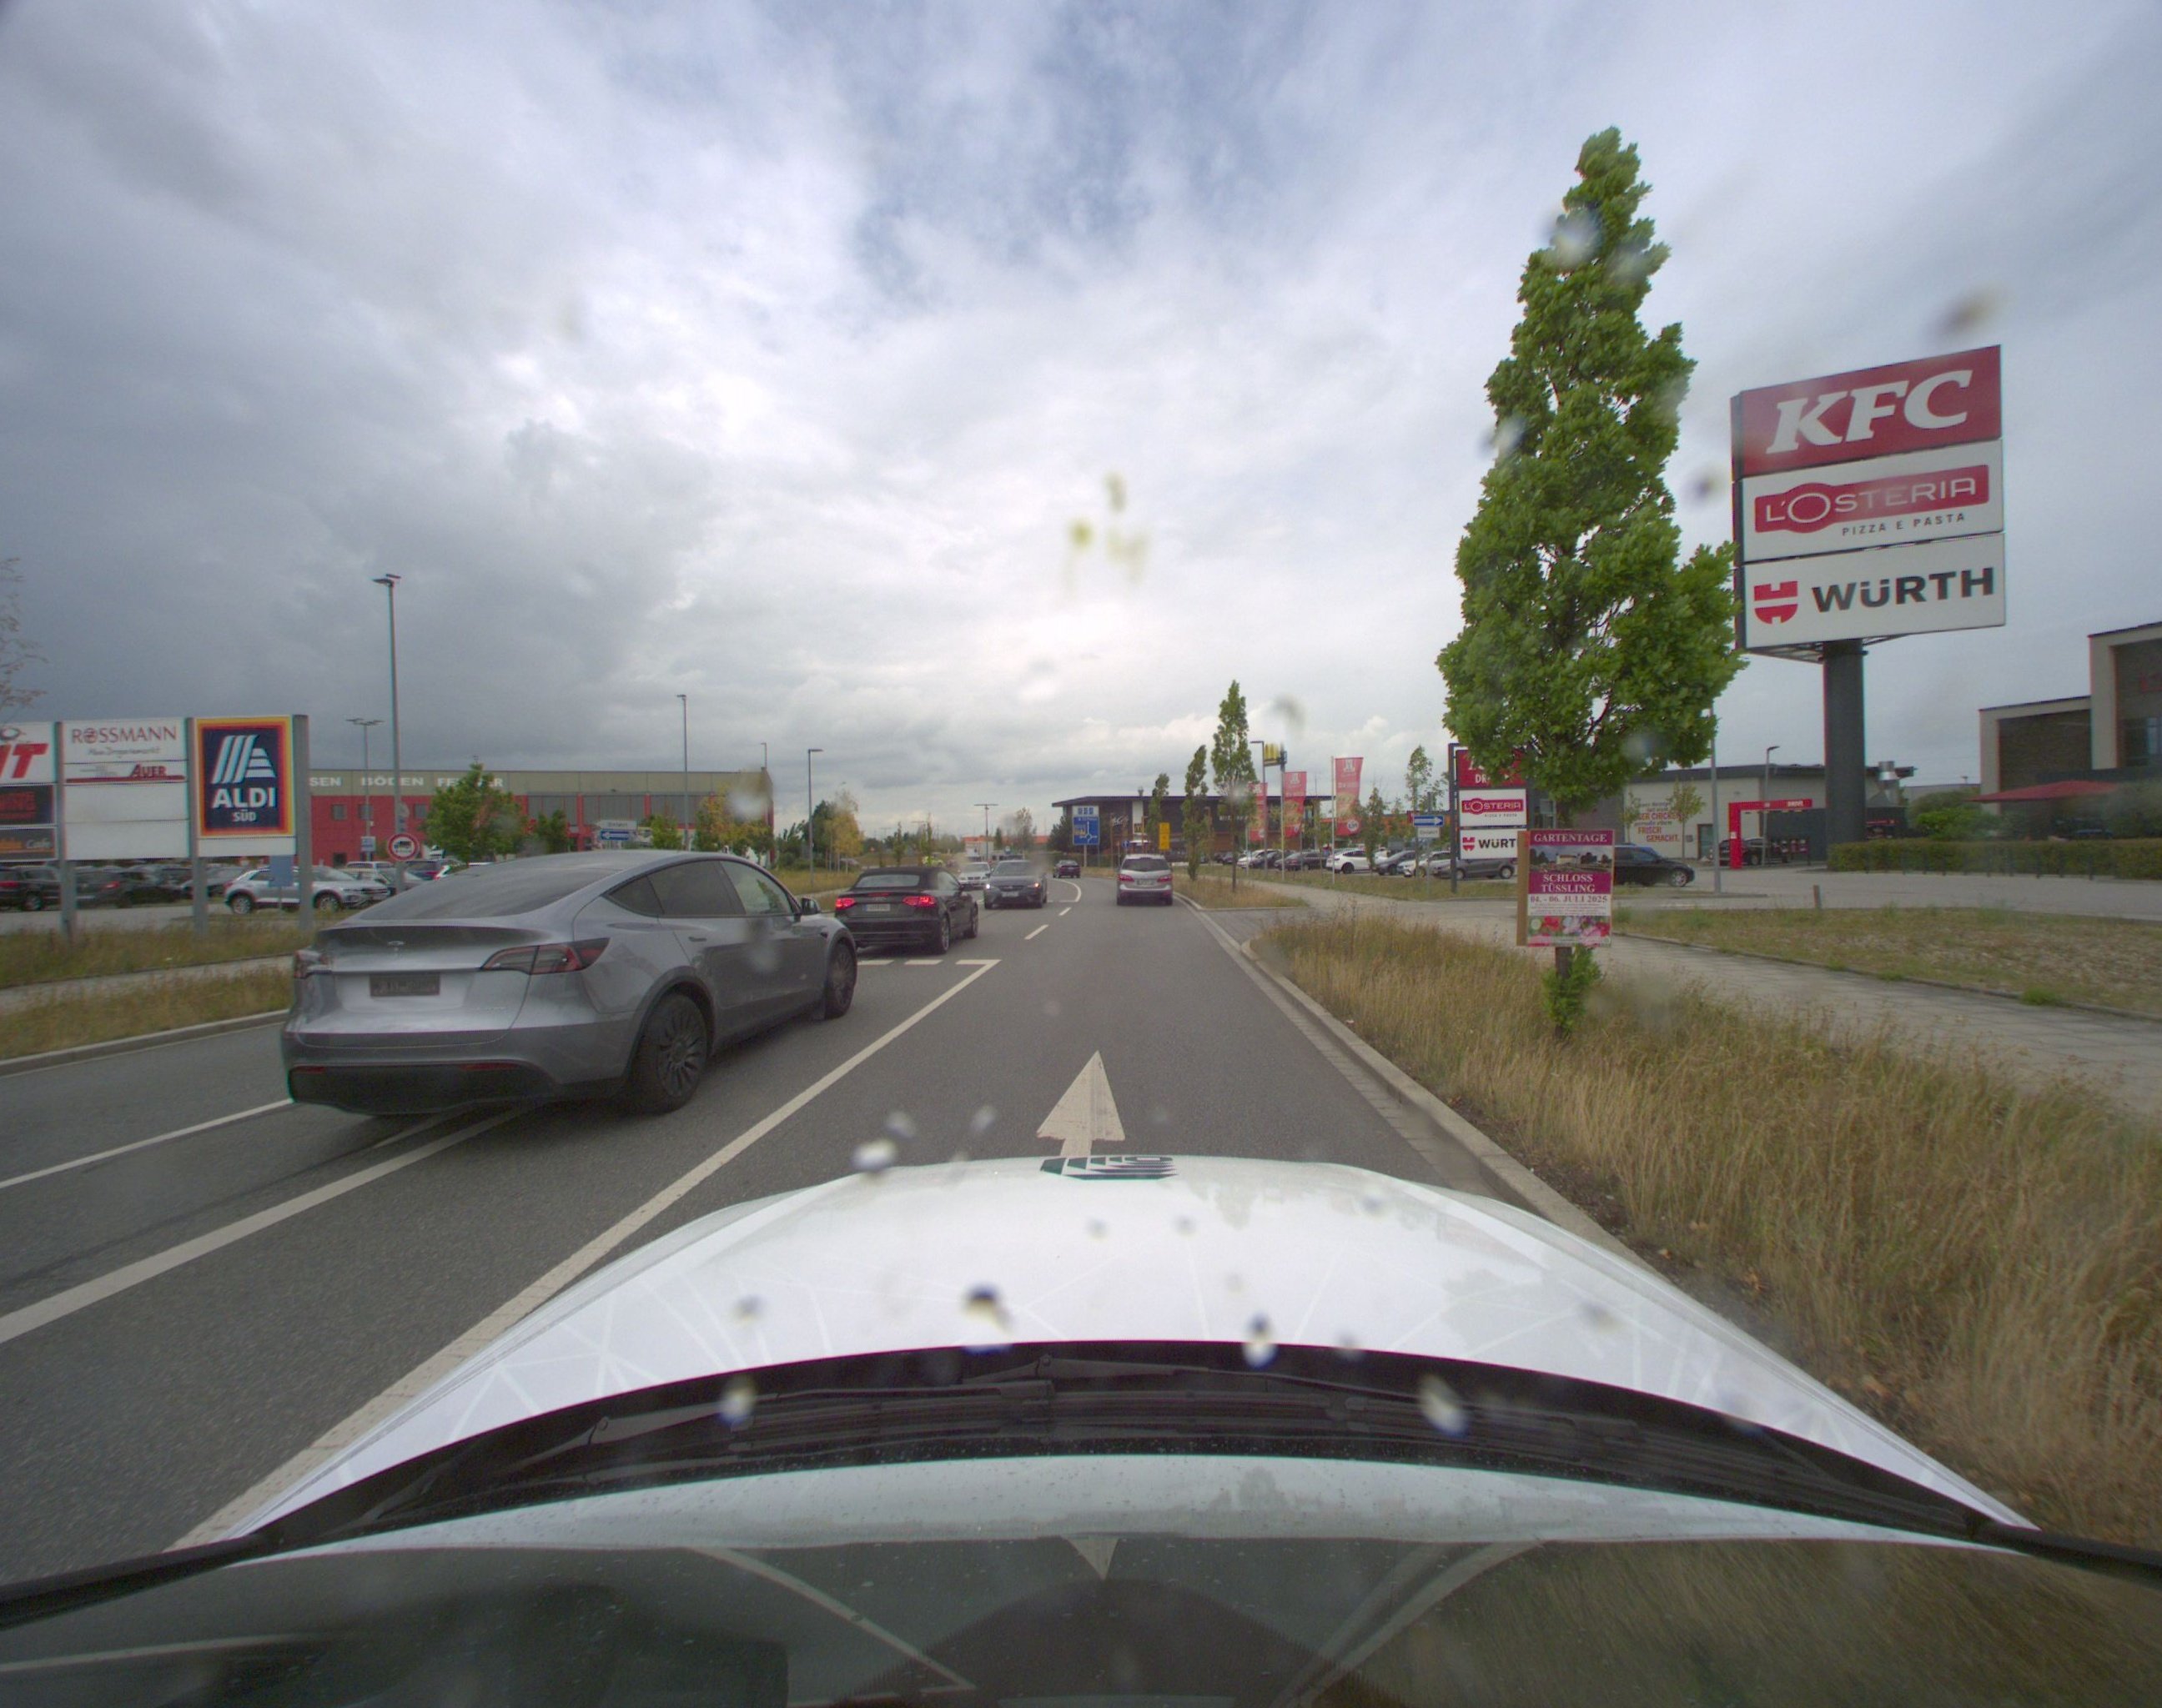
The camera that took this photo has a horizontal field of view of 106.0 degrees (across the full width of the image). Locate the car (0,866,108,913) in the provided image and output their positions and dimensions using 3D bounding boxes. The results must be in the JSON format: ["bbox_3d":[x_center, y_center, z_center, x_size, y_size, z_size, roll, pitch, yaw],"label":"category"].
[{"bbox_3d":[-39.284,1.311,30.494,1.854,1.607,3.973,-2,0,-20],"label":"car"}]

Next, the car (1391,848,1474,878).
[{"bbox_3d":[19.889,0.521,46.229,3.853,1.481,1.900,-3,0,-3],"label":"car"}]

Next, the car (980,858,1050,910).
[{"bbox_3d":[-1.973,0.875,25.488,1.824,1.420,4.244,-1,0,0],"label":"car"}]

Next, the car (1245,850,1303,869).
[{"bbox_3d":[16.741,0.474,70.830,4.477,1.436,2.062,-2,0,-17],"label":"car"}]

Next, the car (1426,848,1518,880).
[{"bbox_3d":[19.824,0.476,41.414,3.747,1.494,1.889,-1,0,-1],"label":"car"}]

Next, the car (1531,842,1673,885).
[{"bbox_3d":[20.136,0.354,31.632,4.247,1.520,1.966,-1,0,1],"label":"car"}]

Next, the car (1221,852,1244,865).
[{"bbox_3d":[15.739,0.445,84.519,1.796,1.313,3.868,-1,0,19],"label":"car"}]

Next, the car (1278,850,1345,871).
[{"bbox_3d":[17.816,0.488,62.999,4.522,1.469,2.023,-2,0,-13],"label":"car"}]

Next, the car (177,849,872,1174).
[{"bbox_3d":[-3.340,0.763,6.300,1.985,1.561,4.616,-1,0,3],"label":"car"}]

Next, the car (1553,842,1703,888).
[{"bbox_3d":[19.417,0.382,29.058,3.969,1.494,1.984,-1,0,3],"label":"car"}]

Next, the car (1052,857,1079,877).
[{"bbox_3d":[-1.238,0.979,62.130,1.841,1.418,4.218,-1,0,-4],"label":"car"}]

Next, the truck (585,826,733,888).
[{"bbox_3d":[-25.976,0.164,50.752,2.825,3.541,8.472,-1,0,20],"label":"truck"}]

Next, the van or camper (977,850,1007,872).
[{"bbox_3d":[-10.478,0.842,95.518,2.310,2.506,5.172,-1,0,-19],"label":"van or camper"}]

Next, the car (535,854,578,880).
[{"bbox_3d":[-43.963,1.096,68.365,2.000,2.033,4.608,-2,0,-19],"label":"car"}]

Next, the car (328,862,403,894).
[{"bbox_3d":[-42.794,1.389,48.833,2.000,1.729,3.973,-2,0,-20],"label":"car"}]

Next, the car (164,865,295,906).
[{"bbox_3d":[-39.172,1.392,37.684,2.000,1.607,5.237,-2,0,-20],"label":"car"}]

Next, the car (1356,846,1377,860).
[{"bbox_3d":[31.960,-0.107,91.033,1.932,1.443,4.242,-2,0,23],"label":"car"}]

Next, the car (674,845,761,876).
[{"bbox_3d":[-28.672,0.519,64.485,6.085,2.307,2.197,-1,0,-18],"label":"car"}]

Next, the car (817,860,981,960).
[{"bbox_3d":[-2.969,0.852,14.217,1.762,1.438,4.232,-1,-1,2],"label":"car"}]

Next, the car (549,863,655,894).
[{"bbox_3d":[-24.663,1.230,42.057,4.224,1.435,1.995,-1,0,-4],"label":"car"}]

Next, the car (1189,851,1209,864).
[{"bbox_3d":[15.562,0.470,107.484,1.978,1.717,4.018,-1,0,17],"label":"car"}]

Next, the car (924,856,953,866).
[{"bbox_3d":[-22.641,1.111,129.644,4.017,1.515,1.978,-1,0,-35],"label":"car"}]

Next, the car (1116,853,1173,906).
[{"bbox_3d":[2.022,0.765,26.338,1.722,1.600,3.810,0,0,3],"label":"car"}]

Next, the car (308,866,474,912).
[{"bbox_3d":[-24.646,1.213,29.190,4.225,1.513,2.047,-1,0,2],"label":"car"}]

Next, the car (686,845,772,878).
[{"bbox_3d":[-29.862,0.606,69.345,6.423,2.598,2.231,-1,0,-17],"label":"car"}]

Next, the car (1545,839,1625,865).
[{"bbox_3d":[33.668,-0.144,54.429,4.574,1.519,2.068,-2,0,-18],"label":"car"}]

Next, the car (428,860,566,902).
[{"bbox_3d":[-24.606,1.126,34.469,4.243,1.559,1.984,-2,0,-8],"label":"car"}]

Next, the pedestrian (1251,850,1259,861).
[{"bbox_3d":[21.463,0.193,100.330,0.761,1.439,0.628,-2,0,39],"label":"pedestrian"}]

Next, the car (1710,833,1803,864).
[{"bbox_3d":[37.522,-0.307,45.241,4.576,1.519,1.885,-2,0,-20],"label":"car"}]

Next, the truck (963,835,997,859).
[{"bbox_3d":[-17.575,-1.179,142.456,3.112,3.907,9.365,-2,0,12],"label":"truck"}]

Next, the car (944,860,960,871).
[{"bbox_3d":[-19.053,1.688,120.117,1.997,1.515,3.979,-1,0,-15],"label":"car"}]

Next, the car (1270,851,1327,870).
[{"bbox_3d":[17.605,0.505,65.966,4.091,1.438,1.933,-2,0,-15],"label":"car"}]

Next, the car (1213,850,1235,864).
[{"bbox_3d":[19.174,0.380,109.152,2.098,1.717,4.252,-1,0,21],"label":"car"}]

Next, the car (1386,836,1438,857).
[{"bbox_3d":[43.065,-0.978,106.048,5.970,2.528,2.296,-1,0,30],"label":"car"}]

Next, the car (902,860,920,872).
[{"bbox_3d":[-25.727,1.793,123.068,1.807,1.669,4.293,-4,0,-23],"label":"car"}]

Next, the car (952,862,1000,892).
[{"bbox_3d":[-5.559,1.201,43.586,1.829,1.417,4.501,-2,0,2],"label":"car"}]

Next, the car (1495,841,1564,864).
[{"bbox_3d":[32.919,-0.116,59.793,4.378,1.519,2.034,-2,0,-20],"label":"car"}]

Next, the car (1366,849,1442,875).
[{"bbox_3d":[20.267,0.492,51.159,3.980,1.485,1.937,-2,-1,-5],"label":"car"}]

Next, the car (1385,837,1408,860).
[{"bbox_3d":[35.300,-0.652,91.077,2.254,2.501,7.368,-1,0,22],"label":"car"}]

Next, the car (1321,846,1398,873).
[{"bbox_3d":[19.163,0.368,56.102,4.559,1.645,2.082,-3,0,-9],"label":"car"}]

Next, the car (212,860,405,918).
[{"bbox_3d":[-25.019,1.090,26.516,4.231,1.723,2.027,-1,0,-3],"label":"car"}]

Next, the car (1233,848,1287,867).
[{"bbox_3d":[16.101,0.301,73.258,4.360,1.639,1.925,-2,0,-19],"label":"car"}]

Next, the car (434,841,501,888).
[{"bbox_3d":[-37.890,0.607,50.459,2.067,2.690,5.106,-2,0,-23],"label":"car"}]

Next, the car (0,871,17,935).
[{"bbox_3d":[-25.608,1.127,16.900,4.339,1.391,2.168,-1,0,3],"label":"car"}]

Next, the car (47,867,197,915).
[{"bbox_3d":[-36.952,1.368,31.539,2.000,1.607,3.973,-2,0,-20],"label":"car"}]
